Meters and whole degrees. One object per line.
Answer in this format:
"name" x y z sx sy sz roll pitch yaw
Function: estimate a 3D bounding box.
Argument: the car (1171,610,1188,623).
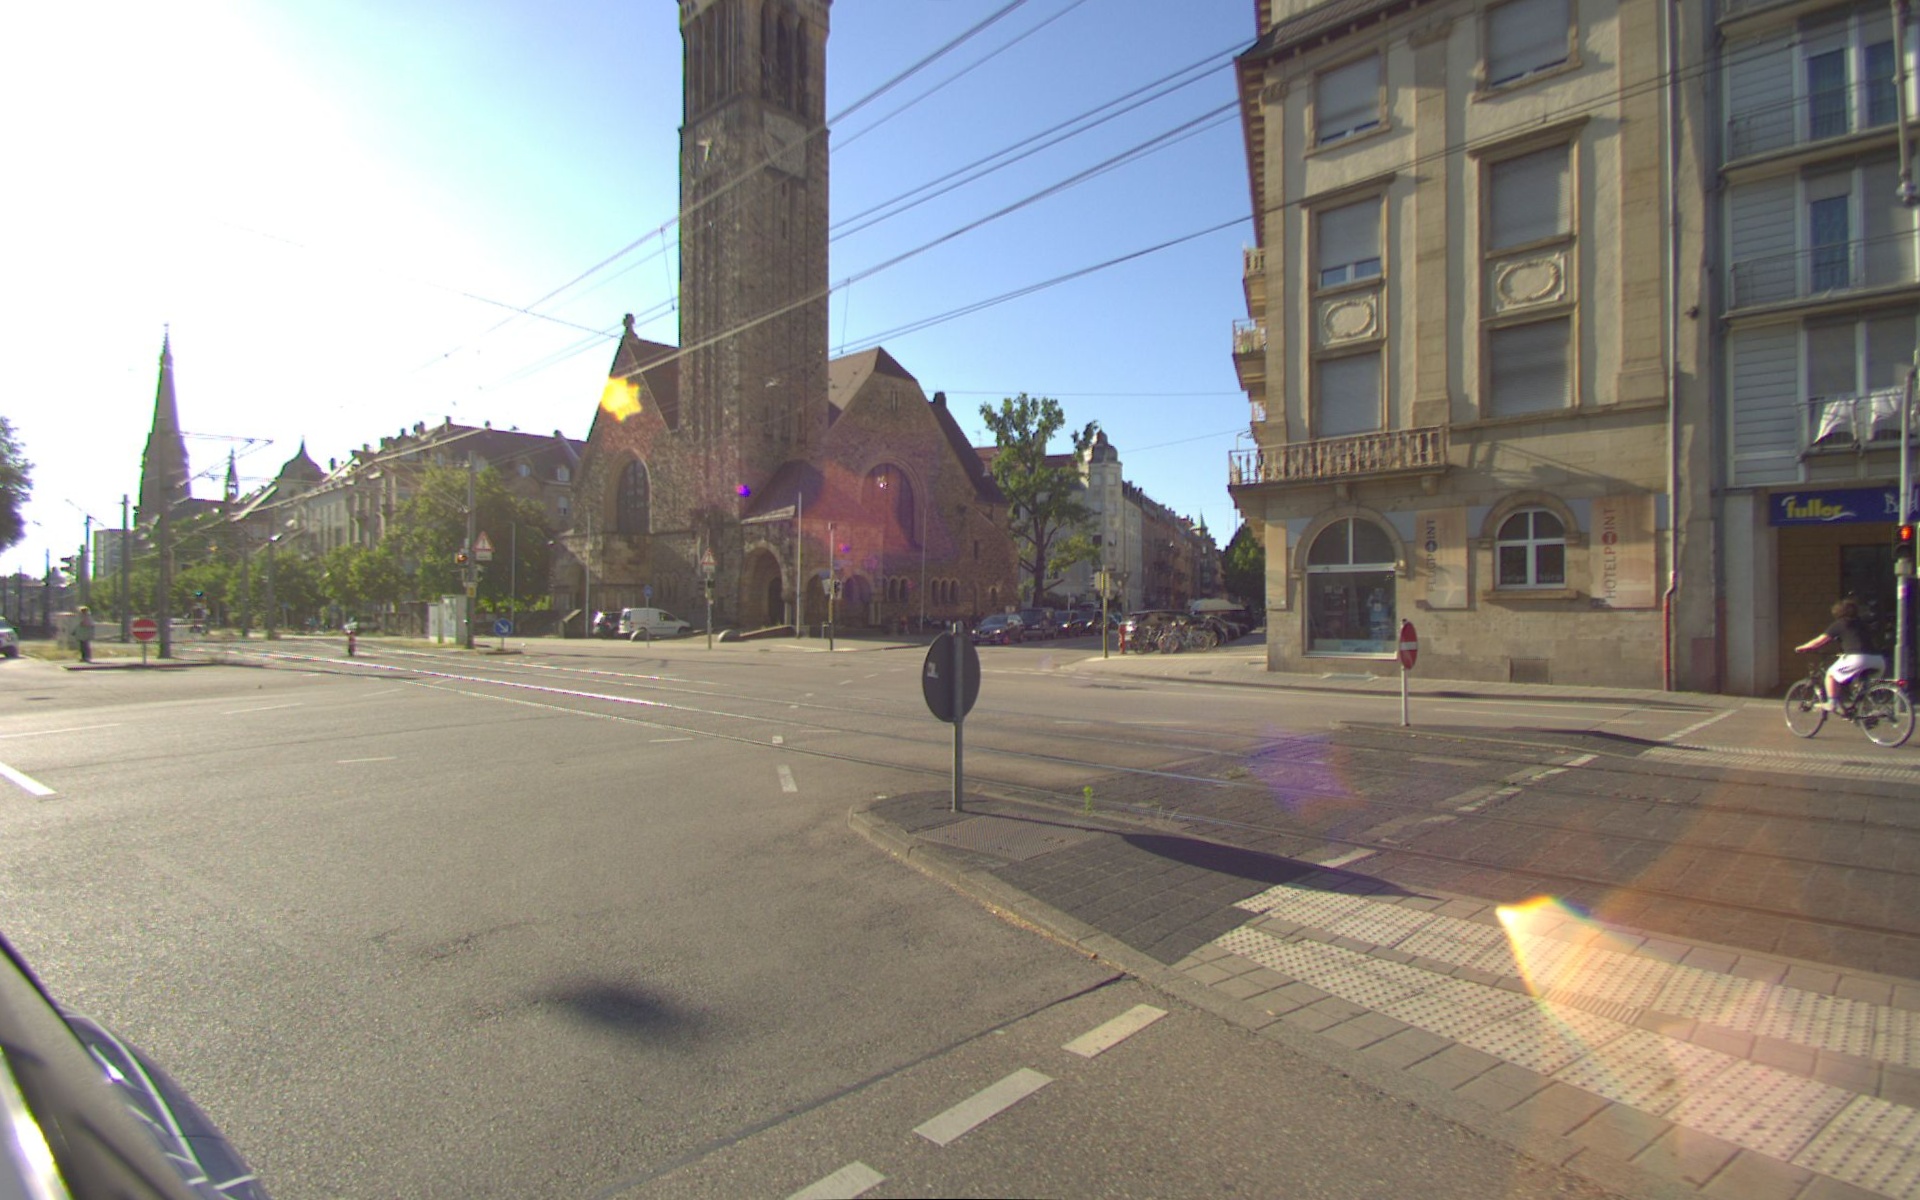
"car" 34.115 2.524 157.161 1.985 1.882 4.878 -1 1 20

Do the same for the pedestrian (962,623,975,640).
"pedestrian" 0.600 2.231 71.572 0.641 1.136 0.702 -4 2 -37

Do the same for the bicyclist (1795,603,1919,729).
"bicyclist" 10.362 0.734 11.707 0.527 1.382 1.019 -1 0 0

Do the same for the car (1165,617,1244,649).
"car" 13.931 1.884 57.635 3.931 1.532 1.854 -2 -3 -21

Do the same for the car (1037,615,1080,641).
"car" 6.463 1.791 65.975 1.828 1.514 4.313 -1 1 20

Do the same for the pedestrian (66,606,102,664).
"pedestrian" -25.666 1.018 29.652 0.925 1.633 0.670 -1 1 42

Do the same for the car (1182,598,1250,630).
"car" 17.213 0.938 68.079 3.935 1.918 1.790 -3 -3 -11

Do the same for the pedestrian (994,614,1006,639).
"pedestrian" 2.691 1.782 68.458 0.650 1.633 0.462 -1 1 34

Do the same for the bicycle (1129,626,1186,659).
"bicycle" 7.554 1.636 38.738 2.108 1.199 0.550 -1 1 18

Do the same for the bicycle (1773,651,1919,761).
"bicycle" 10.359 1.172 11.642 0.527 1.061 1.824 -1 0 0

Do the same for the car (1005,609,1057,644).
"car" 4.284 1.572 60.390 1.985 1.882 4.460 -1 1 20

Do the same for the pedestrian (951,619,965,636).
"pedestrian" -0.147 1.940 71.307 0.641 1.136 0.702 -3 2 -29

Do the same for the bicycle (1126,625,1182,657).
"bicycle" 7.587 1.611 39.633 2.108 1.199 0.526 -1 1 18

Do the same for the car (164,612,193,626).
"car" -86.141 2.107 111.541 4.556 1.438 1.971 -1 -2 45

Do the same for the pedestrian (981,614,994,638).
"pedestrian" 1.877 1.753 68.760 0.650 1.633 0.463 -1 2 33

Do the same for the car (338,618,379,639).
"car" -47.832 2.263 80.434 4.216 1.541 1.762 -1 1 45

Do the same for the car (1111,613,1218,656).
"car" 8.721 1.482 43.237 3.931 1.597 2.006 -2 -3 -21

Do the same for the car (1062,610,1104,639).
"car" 9.010 1.763 73.601 1.985 1.882 4.878 -1 1 20

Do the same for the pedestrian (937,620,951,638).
"pedestrian" -1.126 2.041 71.347 0.753 1.136 0.786 -3 2 -20

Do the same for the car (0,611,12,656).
"car" -34.304 1.162 35.267 4.001 1.511 1.614 -1 1 44

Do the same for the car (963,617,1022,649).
"car" 1.725 1.689 52.484 1.828 1.430 4.258 -1 1 20

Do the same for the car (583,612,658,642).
"car" -20.830 1.602 62.178 1.769 1.642 3.986 -1 1 44

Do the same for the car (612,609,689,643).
"car" -18.464 1.538 60.419 1.871 1.819 3.970 -1 1 44

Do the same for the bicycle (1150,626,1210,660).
"bicycle" 8.032 1.555 36.977 2.108 1.199 0.526 -1 1 18

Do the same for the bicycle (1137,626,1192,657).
"bicycle" 8.159 1.656 40.413 2.110 1.199 0.525 -1 1 19

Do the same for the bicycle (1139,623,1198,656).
"bicycle" 7.785 1.482 37.759 2.108 1.199 0.526 -1 1 18
